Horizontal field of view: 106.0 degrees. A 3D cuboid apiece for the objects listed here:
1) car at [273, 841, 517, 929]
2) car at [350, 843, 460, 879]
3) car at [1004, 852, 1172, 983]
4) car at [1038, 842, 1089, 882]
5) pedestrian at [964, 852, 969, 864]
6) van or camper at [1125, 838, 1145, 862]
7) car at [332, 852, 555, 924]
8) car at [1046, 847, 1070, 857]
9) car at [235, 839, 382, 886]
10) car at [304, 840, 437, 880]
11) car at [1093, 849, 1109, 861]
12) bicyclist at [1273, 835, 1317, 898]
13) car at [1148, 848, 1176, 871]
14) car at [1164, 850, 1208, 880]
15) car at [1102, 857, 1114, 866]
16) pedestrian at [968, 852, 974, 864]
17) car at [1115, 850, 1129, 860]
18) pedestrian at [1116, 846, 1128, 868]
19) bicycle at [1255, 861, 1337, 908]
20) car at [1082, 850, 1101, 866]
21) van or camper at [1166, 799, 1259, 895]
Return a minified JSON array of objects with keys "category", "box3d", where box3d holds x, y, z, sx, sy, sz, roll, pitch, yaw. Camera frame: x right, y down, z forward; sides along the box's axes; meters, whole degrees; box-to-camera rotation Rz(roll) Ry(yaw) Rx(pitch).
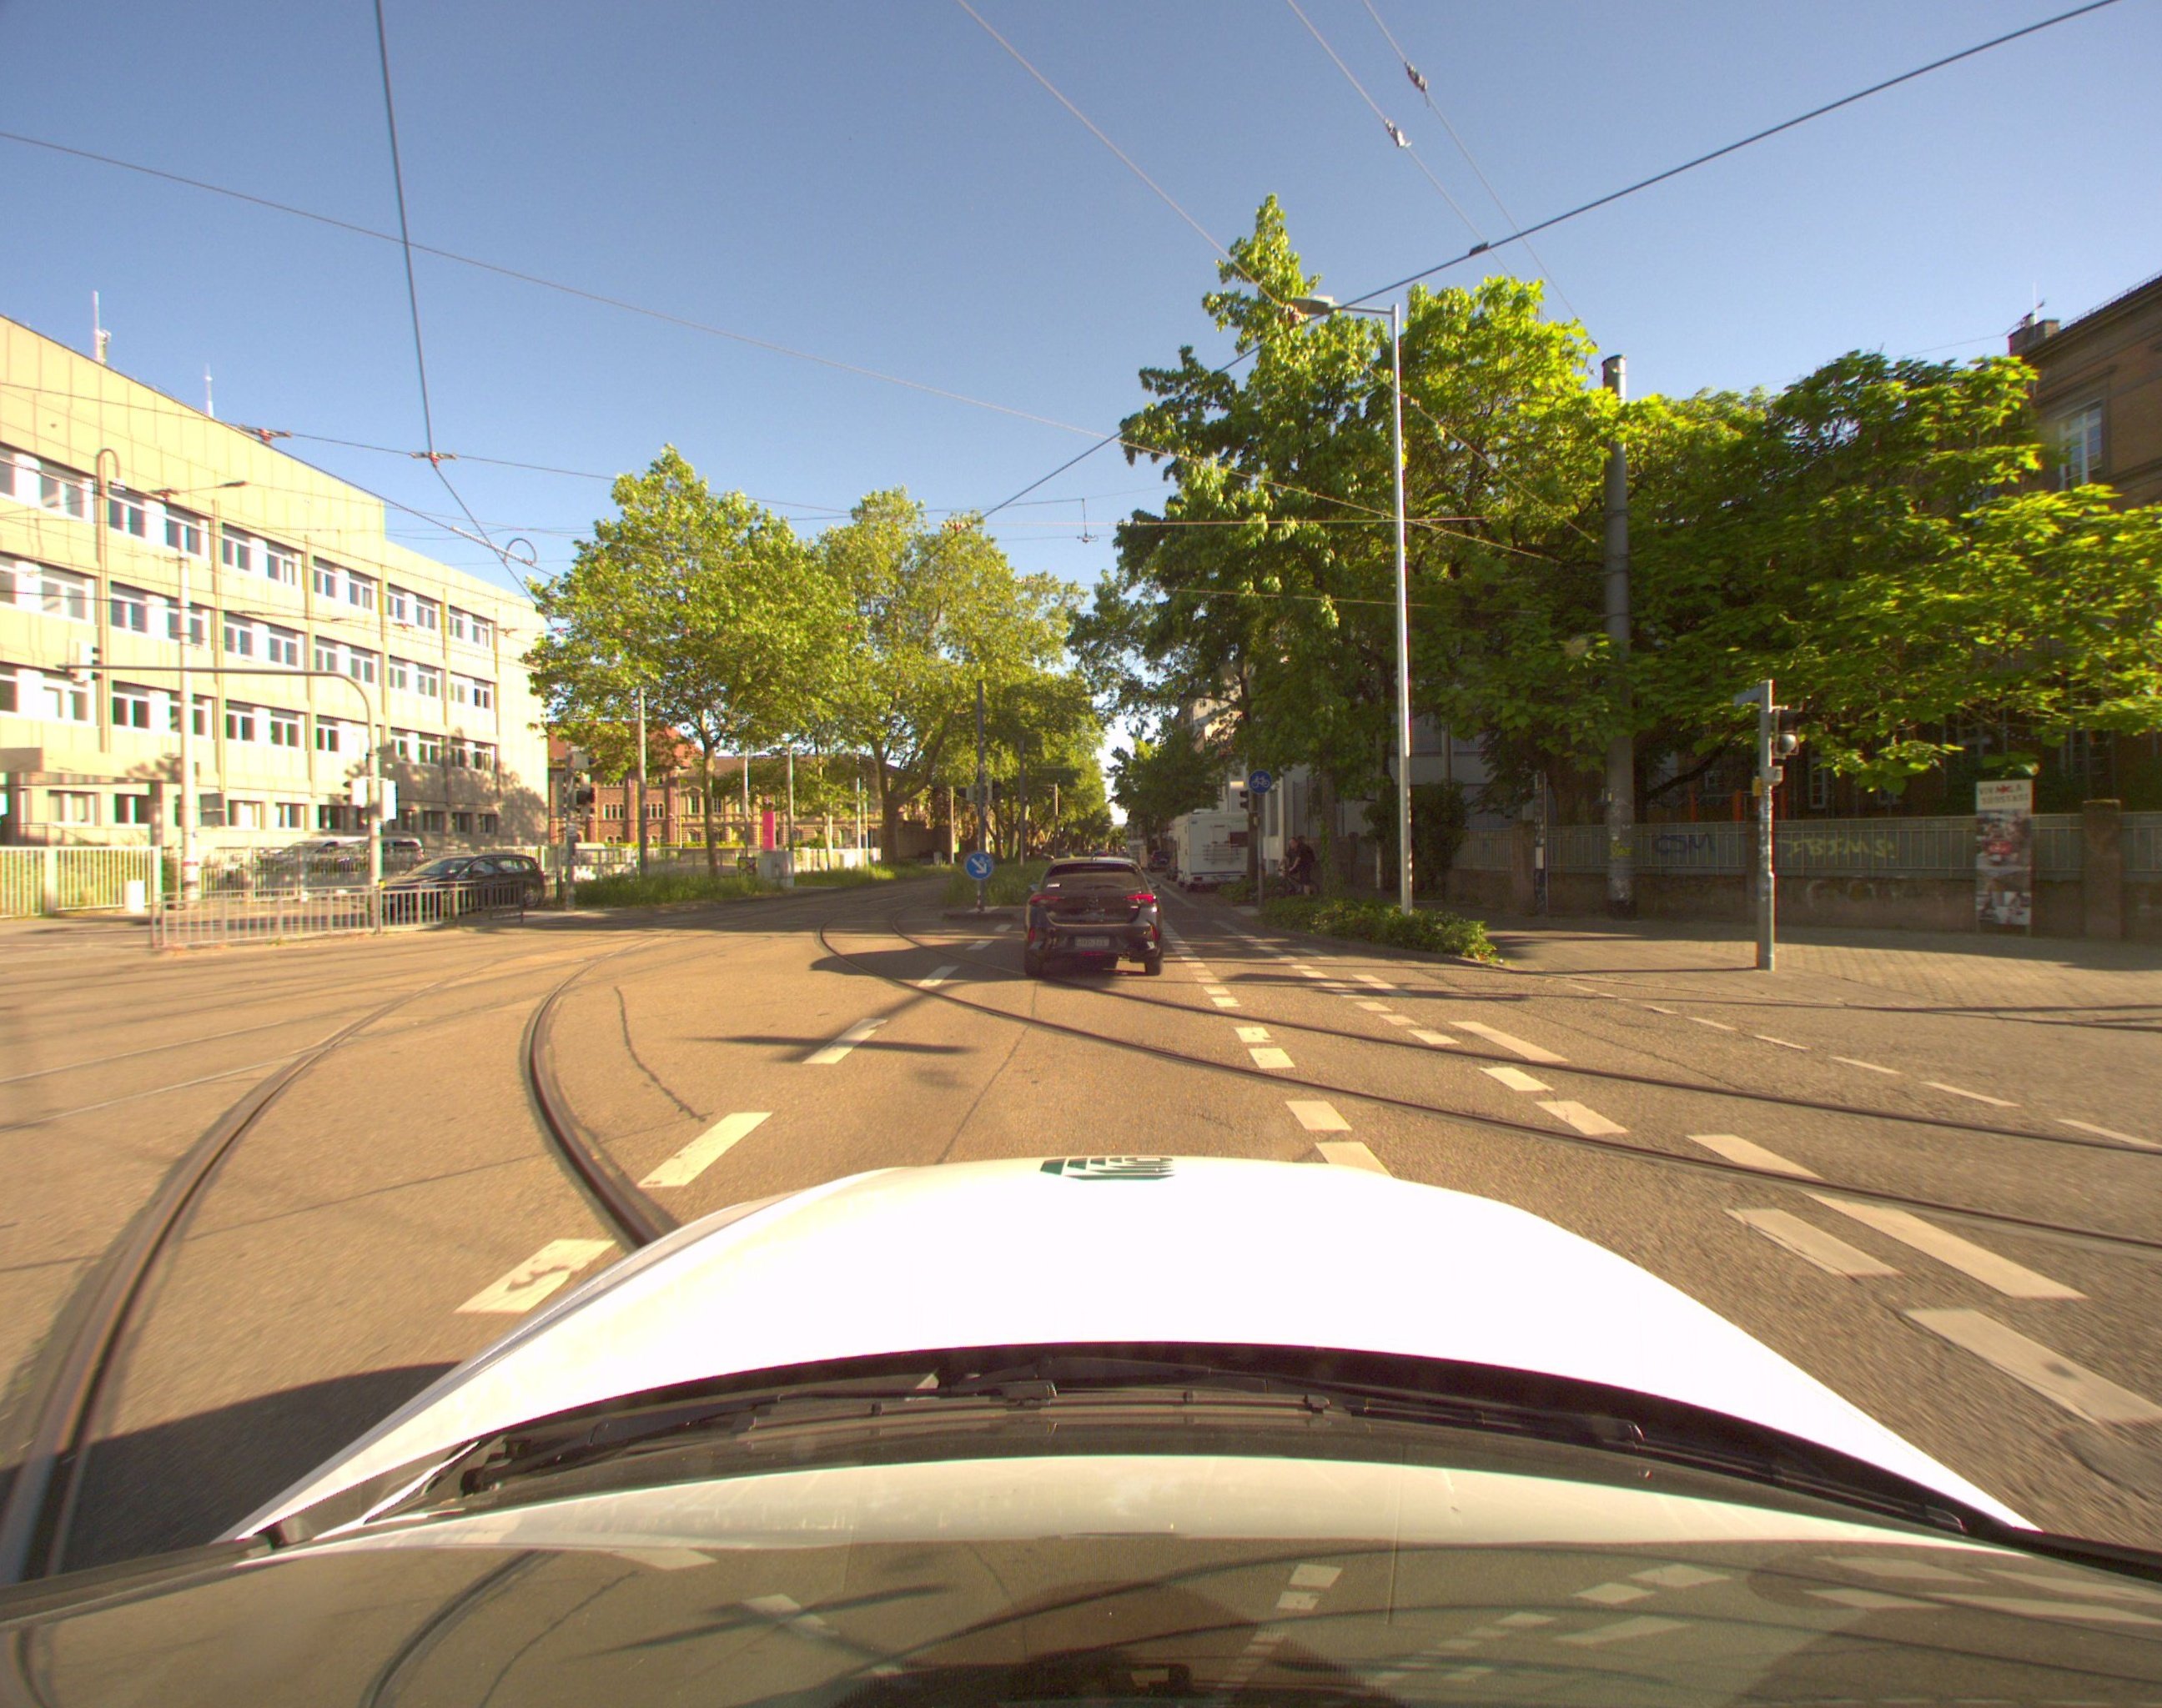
[{"category":"car","box3d":[-16.979,0.676,20.521,1.982,1.947,4.436,-1,1,9]},{"category":"car","box3d":[-40.480,0.404,48.885,4.730,2.013,1.997,-2,0,-4]},{"category":"car","box3d":[0.211,0.730,11.421,1.897,1.425,4.220,-1,1,4]},{"category":"car","box3d":[-0.711,0.326,36.011,1.986,1.627,4.472,1,0,2]},{"category":"pedestrian","box3d":[-15.710,0.557,111.581,0.616,1.733,0.596,1,0,1]},{"category":"van or camper","box3d":[6.918,-0.507,105.041,2.476,2.993,5.439,1,0,3]},{"category":"car","box3d":[-16.826,0.811,21.894,1.985,1.616,4.760,-2,1,4]},{"category":"car","box3d":[-5.728,-0.479,201.331,5.665,2.197,2.290,-1,0,2]},{"category":"car","box3d":[-36.132,0.346,38.302,1.983,2.013,4.735,-2,1,7]},{"category":"car","box3d":[-33.118,0.229,38.151,1.983,1.703,4.387,-2,1,7]},{"category":"car","box3d":[2.680,0.092,105.942,1.897,1.425,4.220,-1,1,4]},{"category":"bicyclist","box3d":[5.261,0.297,20.047,0.702,1.510,0.746,-1,0,-22]},{"category":"car","box3d":[5.771,0.343,58.519,1.783,1.510,3.877,-3,0,3]},{"category":"car","box3d":[5.280,0.526,41.425,1.680,1.420,4.048,-2,0,0]},{"category":"car","box3d":[4.782,1.348,143.606,1.897,1.425,4.220,-1,1,4]},{"category":"pedestrian","box3d":[-15.073,0.543,111.847,0.656,1.622,0.616,1,0,1]},{"category":"car","box3d":[6.032,0.171,119.544,1.897,1.425,4.220,-1,1,4]},{"category":"pedestrian","box3d":[3.759,0.251,75.317,1.032,2.024,1.213,-1,0,1]},{"category":"bicycle","box3d":[5.302,0.726,20.053,1.952,1.070,0.637,-1,0,-23]},{"category":"car","box3d":[1.133,0.424,84.718,1.783,1.510,3.877,-3,0,3]},{"category":"van or camper","box3d":[4.872,-0.266,31.541,2.367,3.125,7.554,-4,0,2]}]
